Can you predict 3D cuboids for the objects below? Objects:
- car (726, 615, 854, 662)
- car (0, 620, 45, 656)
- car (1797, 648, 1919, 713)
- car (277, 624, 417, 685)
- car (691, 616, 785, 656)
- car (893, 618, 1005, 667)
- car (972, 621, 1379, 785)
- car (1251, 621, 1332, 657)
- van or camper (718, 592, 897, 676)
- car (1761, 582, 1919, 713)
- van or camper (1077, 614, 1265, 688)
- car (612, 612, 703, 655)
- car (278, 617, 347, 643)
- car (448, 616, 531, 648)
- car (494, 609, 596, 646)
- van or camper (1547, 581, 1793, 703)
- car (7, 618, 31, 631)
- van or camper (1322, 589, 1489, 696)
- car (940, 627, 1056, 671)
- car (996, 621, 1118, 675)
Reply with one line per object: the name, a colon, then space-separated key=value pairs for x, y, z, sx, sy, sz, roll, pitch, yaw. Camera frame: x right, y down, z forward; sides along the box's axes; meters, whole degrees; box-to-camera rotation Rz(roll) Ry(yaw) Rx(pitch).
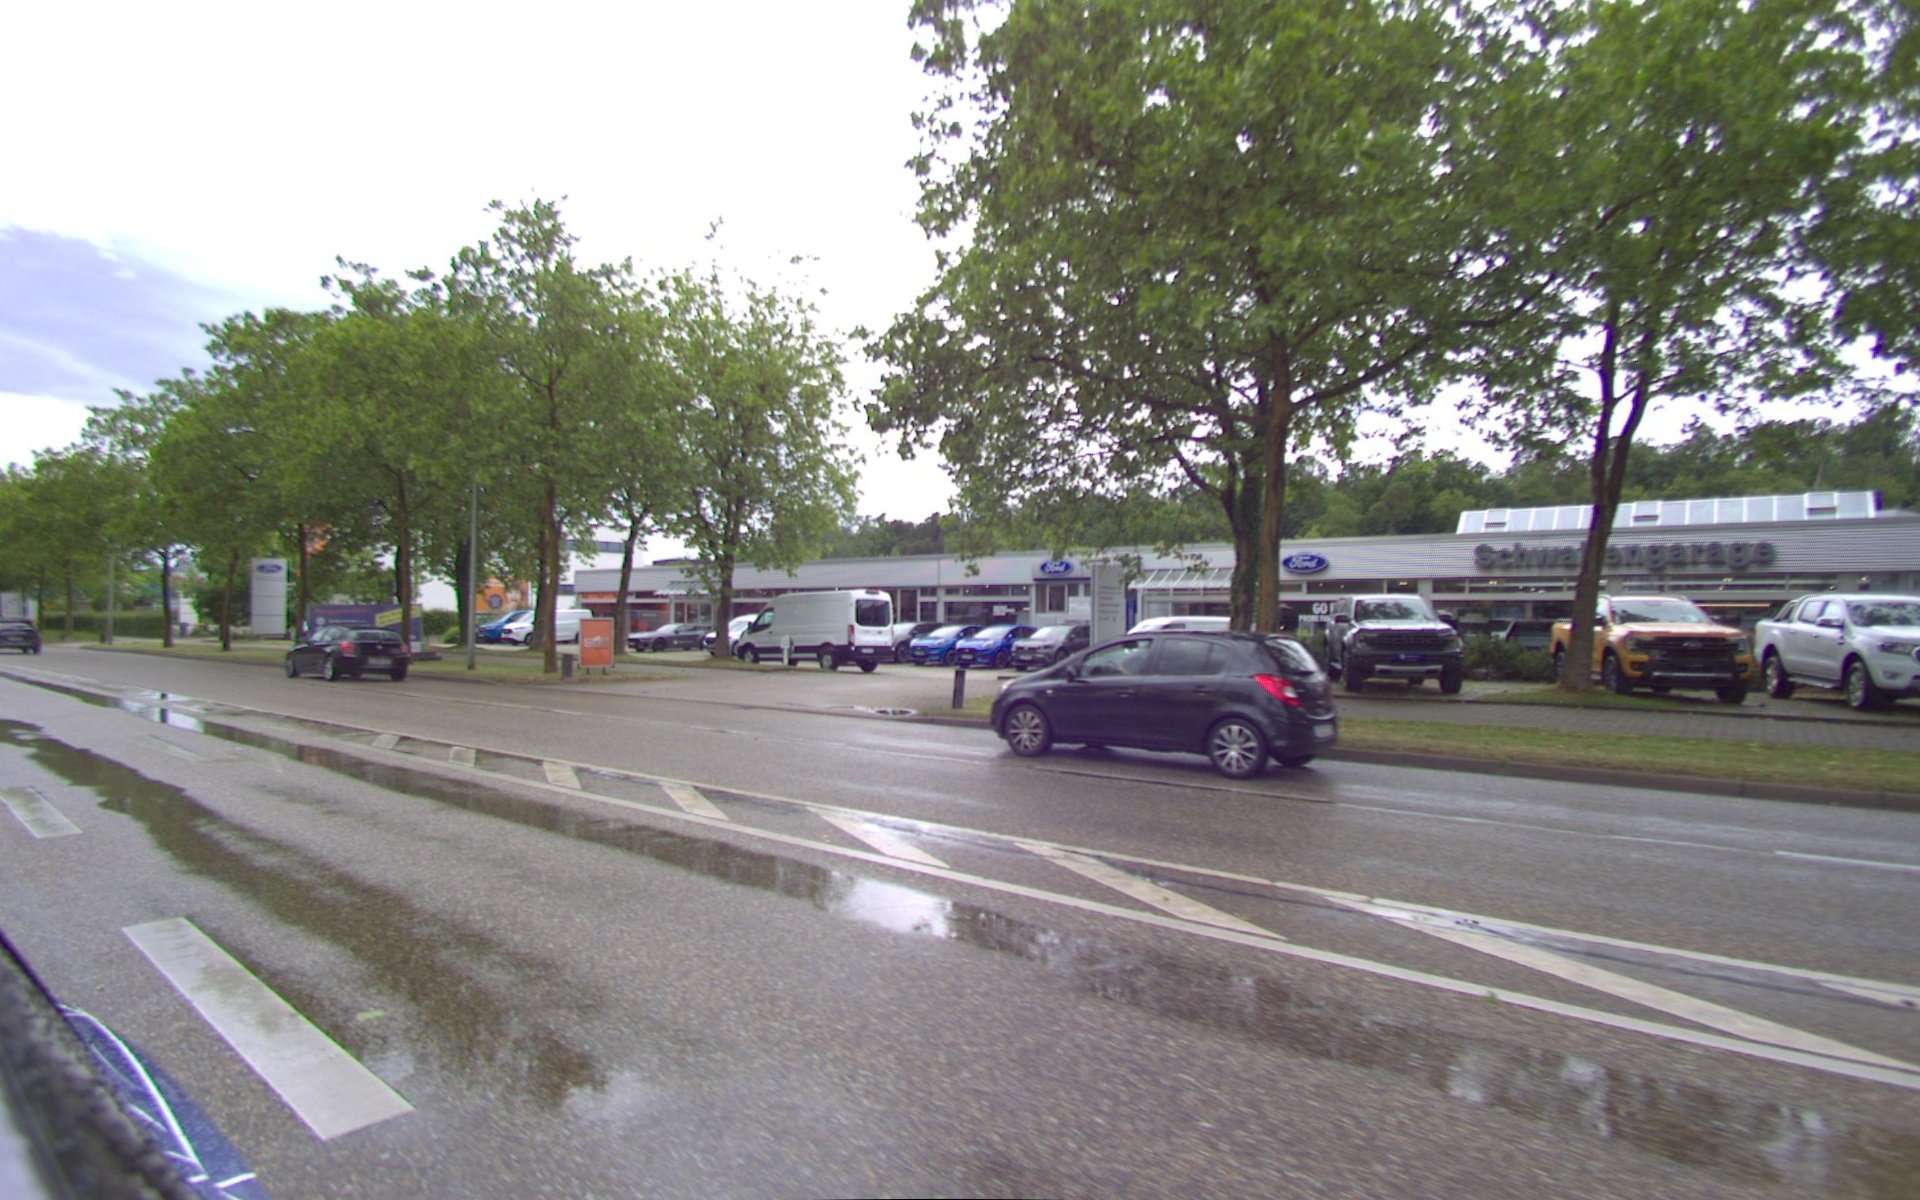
car: x=-7.334 y=1.624 z=44.132 sx=2.412 sy=1.918 sz=5.325 roll=-1 pitch=-2 yaw=37
car: x=-40.351 y=1.600 z=42.827 sx=4.174 sy=1.473 sz=1.650 roll=-1 pitch=-2 yaw=38
car: x=20.390 y=1.715 z=22.122 sx=3.714 sy=1.265 sz=1.660 roll=1 pitch=-1 yaw=-23
car: x=-15.844 y=1.343 z=26.071 sx=4.534 sy=1.440 sz=1.719 roll=-1 pitch=-3 yaw=40
car: x=-10.129 y=1.621 z=46.456 sx=1.880 sy=1.780 sz=3.948 roll=-1 pitch=-2 yaw=38
car: x=-0.387 y=1.608 z=38.890 sx=3.933 sy=1.780 sz=1.870 roll=1 pitch=-2 yaw=-34
car: x=2.241 y=0.986 z=11.142 sx=4.081 sy=1.476 sz=1.692 roll=-1 pitch=-2 yaw=40
car: x=14.211 y=1.623 z=43.294 sx=1.865 sy=1.450 sz=3.944 roll=-1 pitch=-2 yaw=42
van or camper: x=-5.043 y=1.055 z=32.792 sx=6.395 sy=2.489 sz=1.974 roll=-1 pitch=0 yaw=40
car: x=14.812 y=0.704 z=15.927 sx=1.984 sy=1.829 sz=4.441 roll=-1 pitch=-2 yaw=18
van or camper: x=5.489 y=1.273 z=26.322 sx=4.566 sy=1.798 sz=1.845 roll=1 pitch=-2 yaw=-24
car: x=-14.958 y=1.636 z=50.202 sx=1.880 sy=2.029 sz=3.948 roll=-1 pitch=-2 yaw=38
car: x=-39.477 y=1.829 z=61.643 sx=5.243 sy=1.507 sz=2.096 roll=-1 pitch=-2 yaw=40
car: x=-28.554 y=1.927 z=61.480 sx=2.065 sy=1.827 sz=4.082 roll=-1 pitch=-2 yaw=42
car: x=-23.707 y=1.584 z=57.947 sx=2.127 sy=2.029 sz=4.995 roll=-1 pitch=-2 yaw=39
van or camper: x=12.570 y=0.700 z=18.415 sx=2.088 sy=1.783 sz=5.343 roll=3 pitch=0 yaw=18
car: x=-117.530 y=3.058 z=126.389 sx=3.999 sy=1.545 sz=1.723 roll=-1 pitch=-3 yaw=42
van or camper: x=8.680 y=0.796 z=20.244 sx=2.246 sy=1.835 sz=5.273 roll=0 pitch=-1 yaw=15
car: x=1.407 y=1.743 z=36.972 sx=3.933 sy=1.532 sz=1.870 roll=1 pitch=-2 yaw=-35
car: x=3.417 y=1.630 z=35.368 sx=3.932 sy=1.780 sz=1.870 roll=1 pitch=-2 yaw=-33
